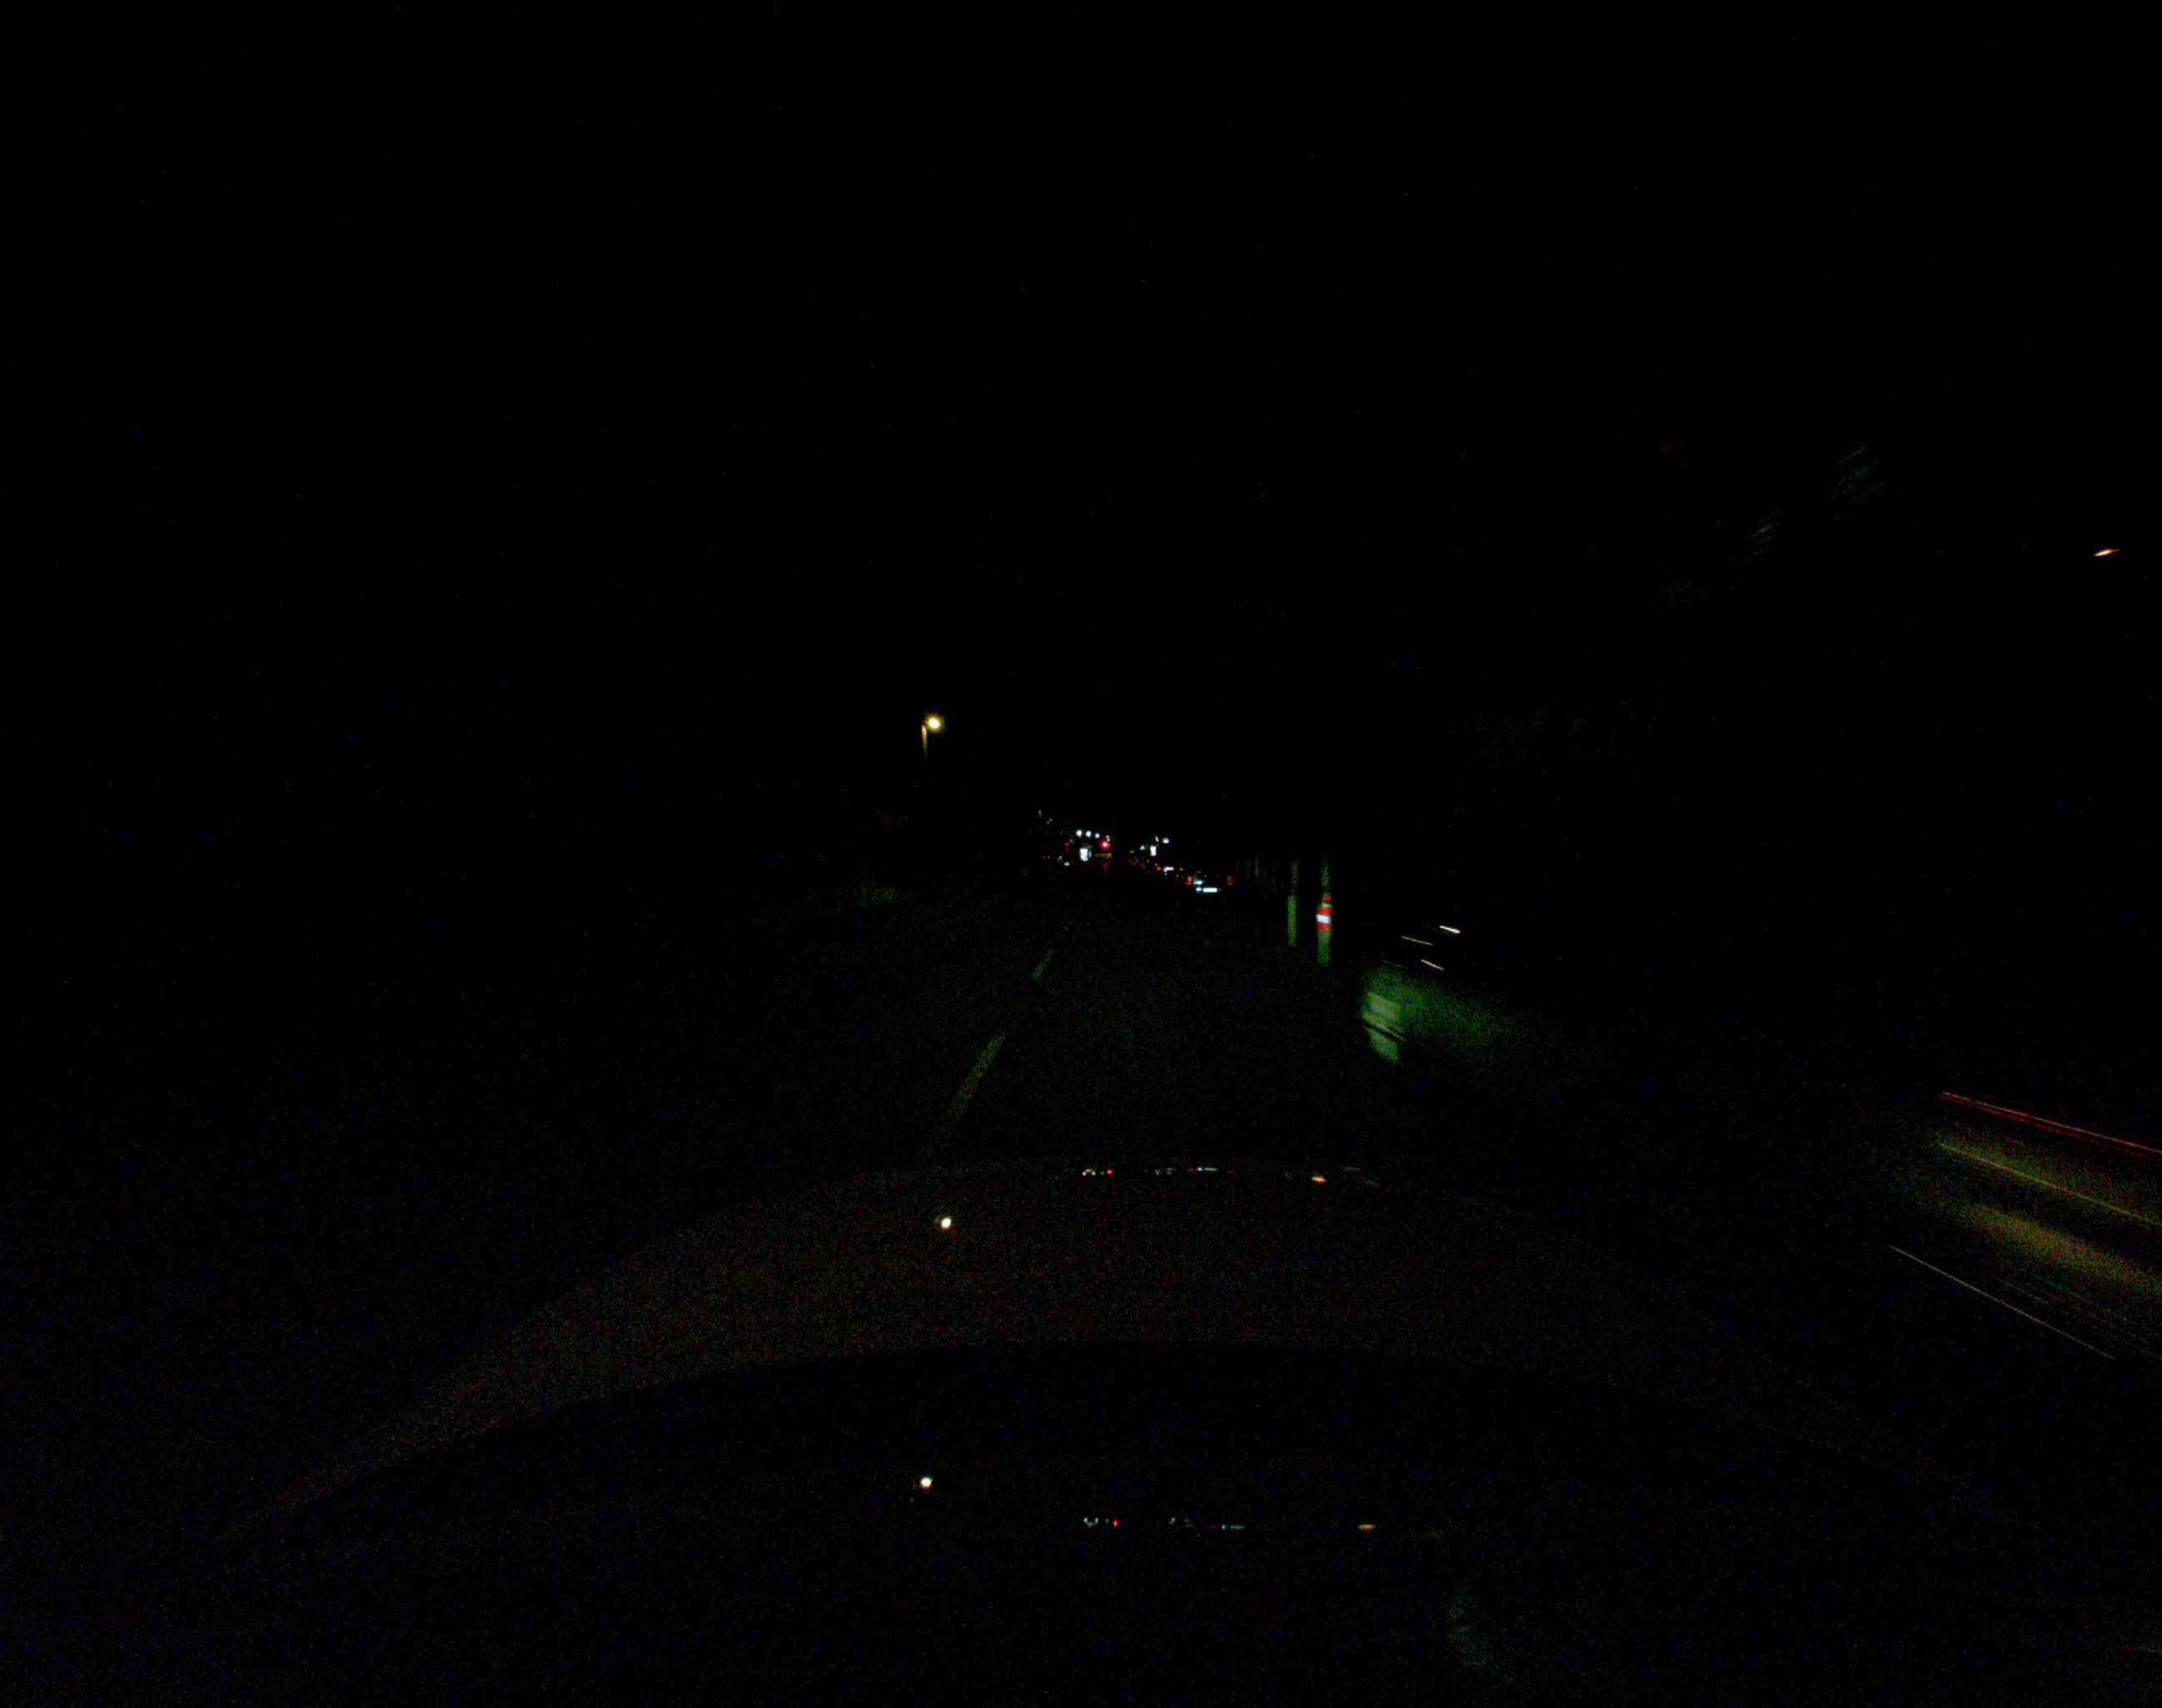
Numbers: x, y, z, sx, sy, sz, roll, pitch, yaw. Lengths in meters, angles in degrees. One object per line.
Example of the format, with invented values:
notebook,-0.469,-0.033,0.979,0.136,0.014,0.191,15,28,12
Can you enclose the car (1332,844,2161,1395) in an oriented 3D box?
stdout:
car,2.933,0.721,4.357,1.758,1.475,4.273,1,0,-2

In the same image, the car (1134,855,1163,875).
car,5.105,0.824,62.270,1.678,1.448,3.996,0,0,-3

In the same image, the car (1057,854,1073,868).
car,-1.848,0.795,93.902,1.748,1.539,3.728,-1,0,-1

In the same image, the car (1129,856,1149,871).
car,5.535,0.879,78.103,1.677,1.448,4.000,0,0,0

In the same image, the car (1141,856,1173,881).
car,4.803,0.893,51.673,1.677,1.448,3.999,0,0,0

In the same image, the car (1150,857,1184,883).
car,4.948,0.889,46.818,1.859,1.403,4.007,0,0,6

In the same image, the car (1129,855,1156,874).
car,5.032,0.836,66.930,1.679,1.448,3.994,0,0,-4

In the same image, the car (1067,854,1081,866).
car,-0.904,0.832,111.015,1.747,1.539,3.731,-1,0,1

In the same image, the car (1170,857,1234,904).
car,3.996,0.842,27.444,1.624,1.439,3.865,0,0,1

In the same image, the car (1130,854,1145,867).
car,6.779,0.768,98.497,1.675,1.539,4.003,-1,0,3
